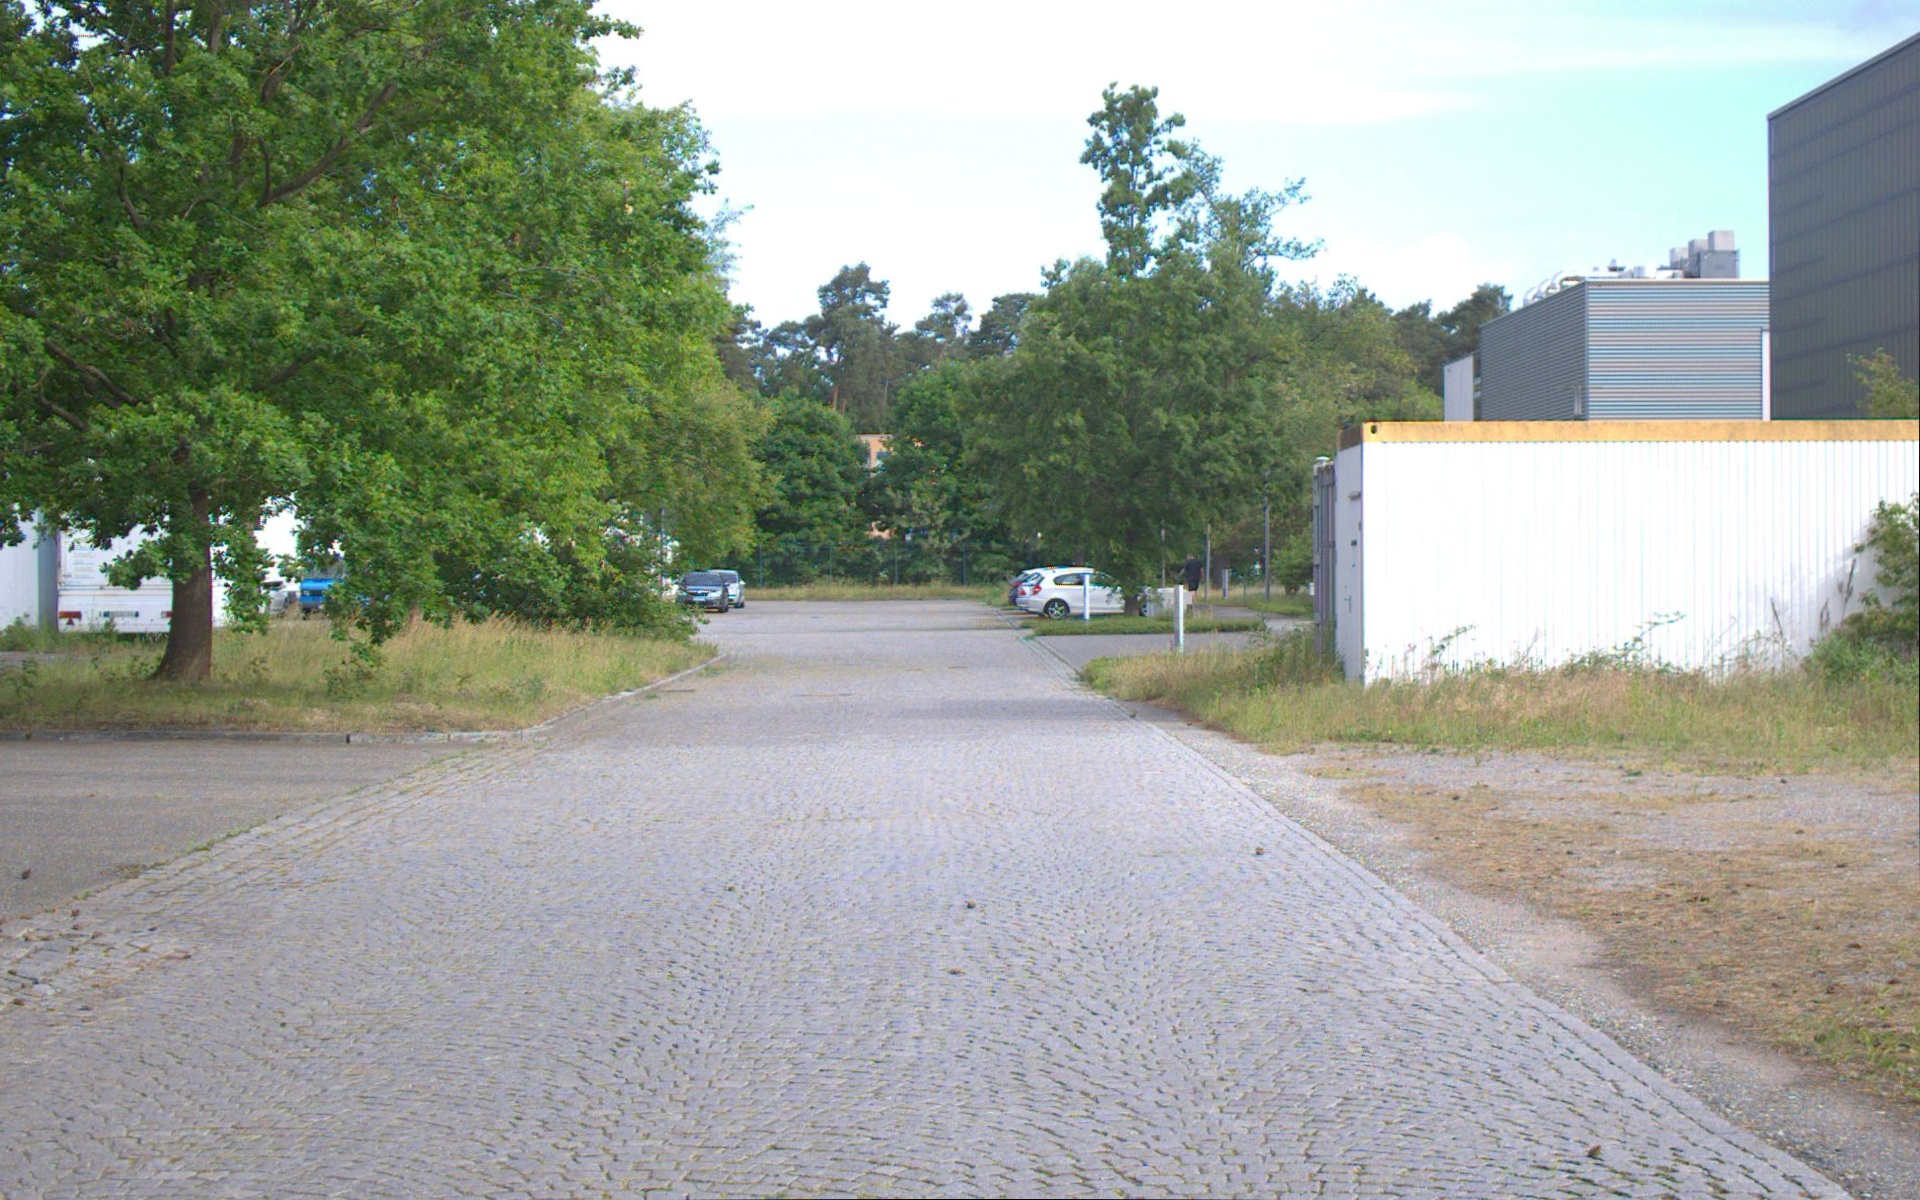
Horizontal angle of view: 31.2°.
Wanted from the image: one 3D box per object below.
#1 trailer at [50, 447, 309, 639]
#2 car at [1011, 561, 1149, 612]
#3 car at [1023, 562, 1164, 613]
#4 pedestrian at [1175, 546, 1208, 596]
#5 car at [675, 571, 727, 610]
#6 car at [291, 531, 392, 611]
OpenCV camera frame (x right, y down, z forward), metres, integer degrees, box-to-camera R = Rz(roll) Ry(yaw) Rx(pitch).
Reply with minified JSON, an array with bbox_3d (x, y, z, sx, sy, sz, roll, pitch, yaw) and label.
[{"bbox_3d":[-16.080,-1.154,71.703,2.657,3.693,10.721,0,1,2],"label":"trailer"},{"bbox_3d":[3.505,-0.393,101.220,3.987,1.450,1.697,-1,0,0],"label":"car"},{"bbox_3d":[3.830,-0.350,99.053,3.987,1.450,2.000,0,0,0],"label":"car"},{"bbox_3d":[7.450,-0.932,110.477,0.940,1.563,0.971,-1,0,-3],"label":"pedestrian"},{"bbox_3d":[-9.246,-0.338,122.964,1.749,1.359,4.000,-1,1,-3],"label":"car"},{"bbox_3d":[-19.989,-0.948,111.316,1.994,2.515,5.617,0,0,3],"label":"car"}]
